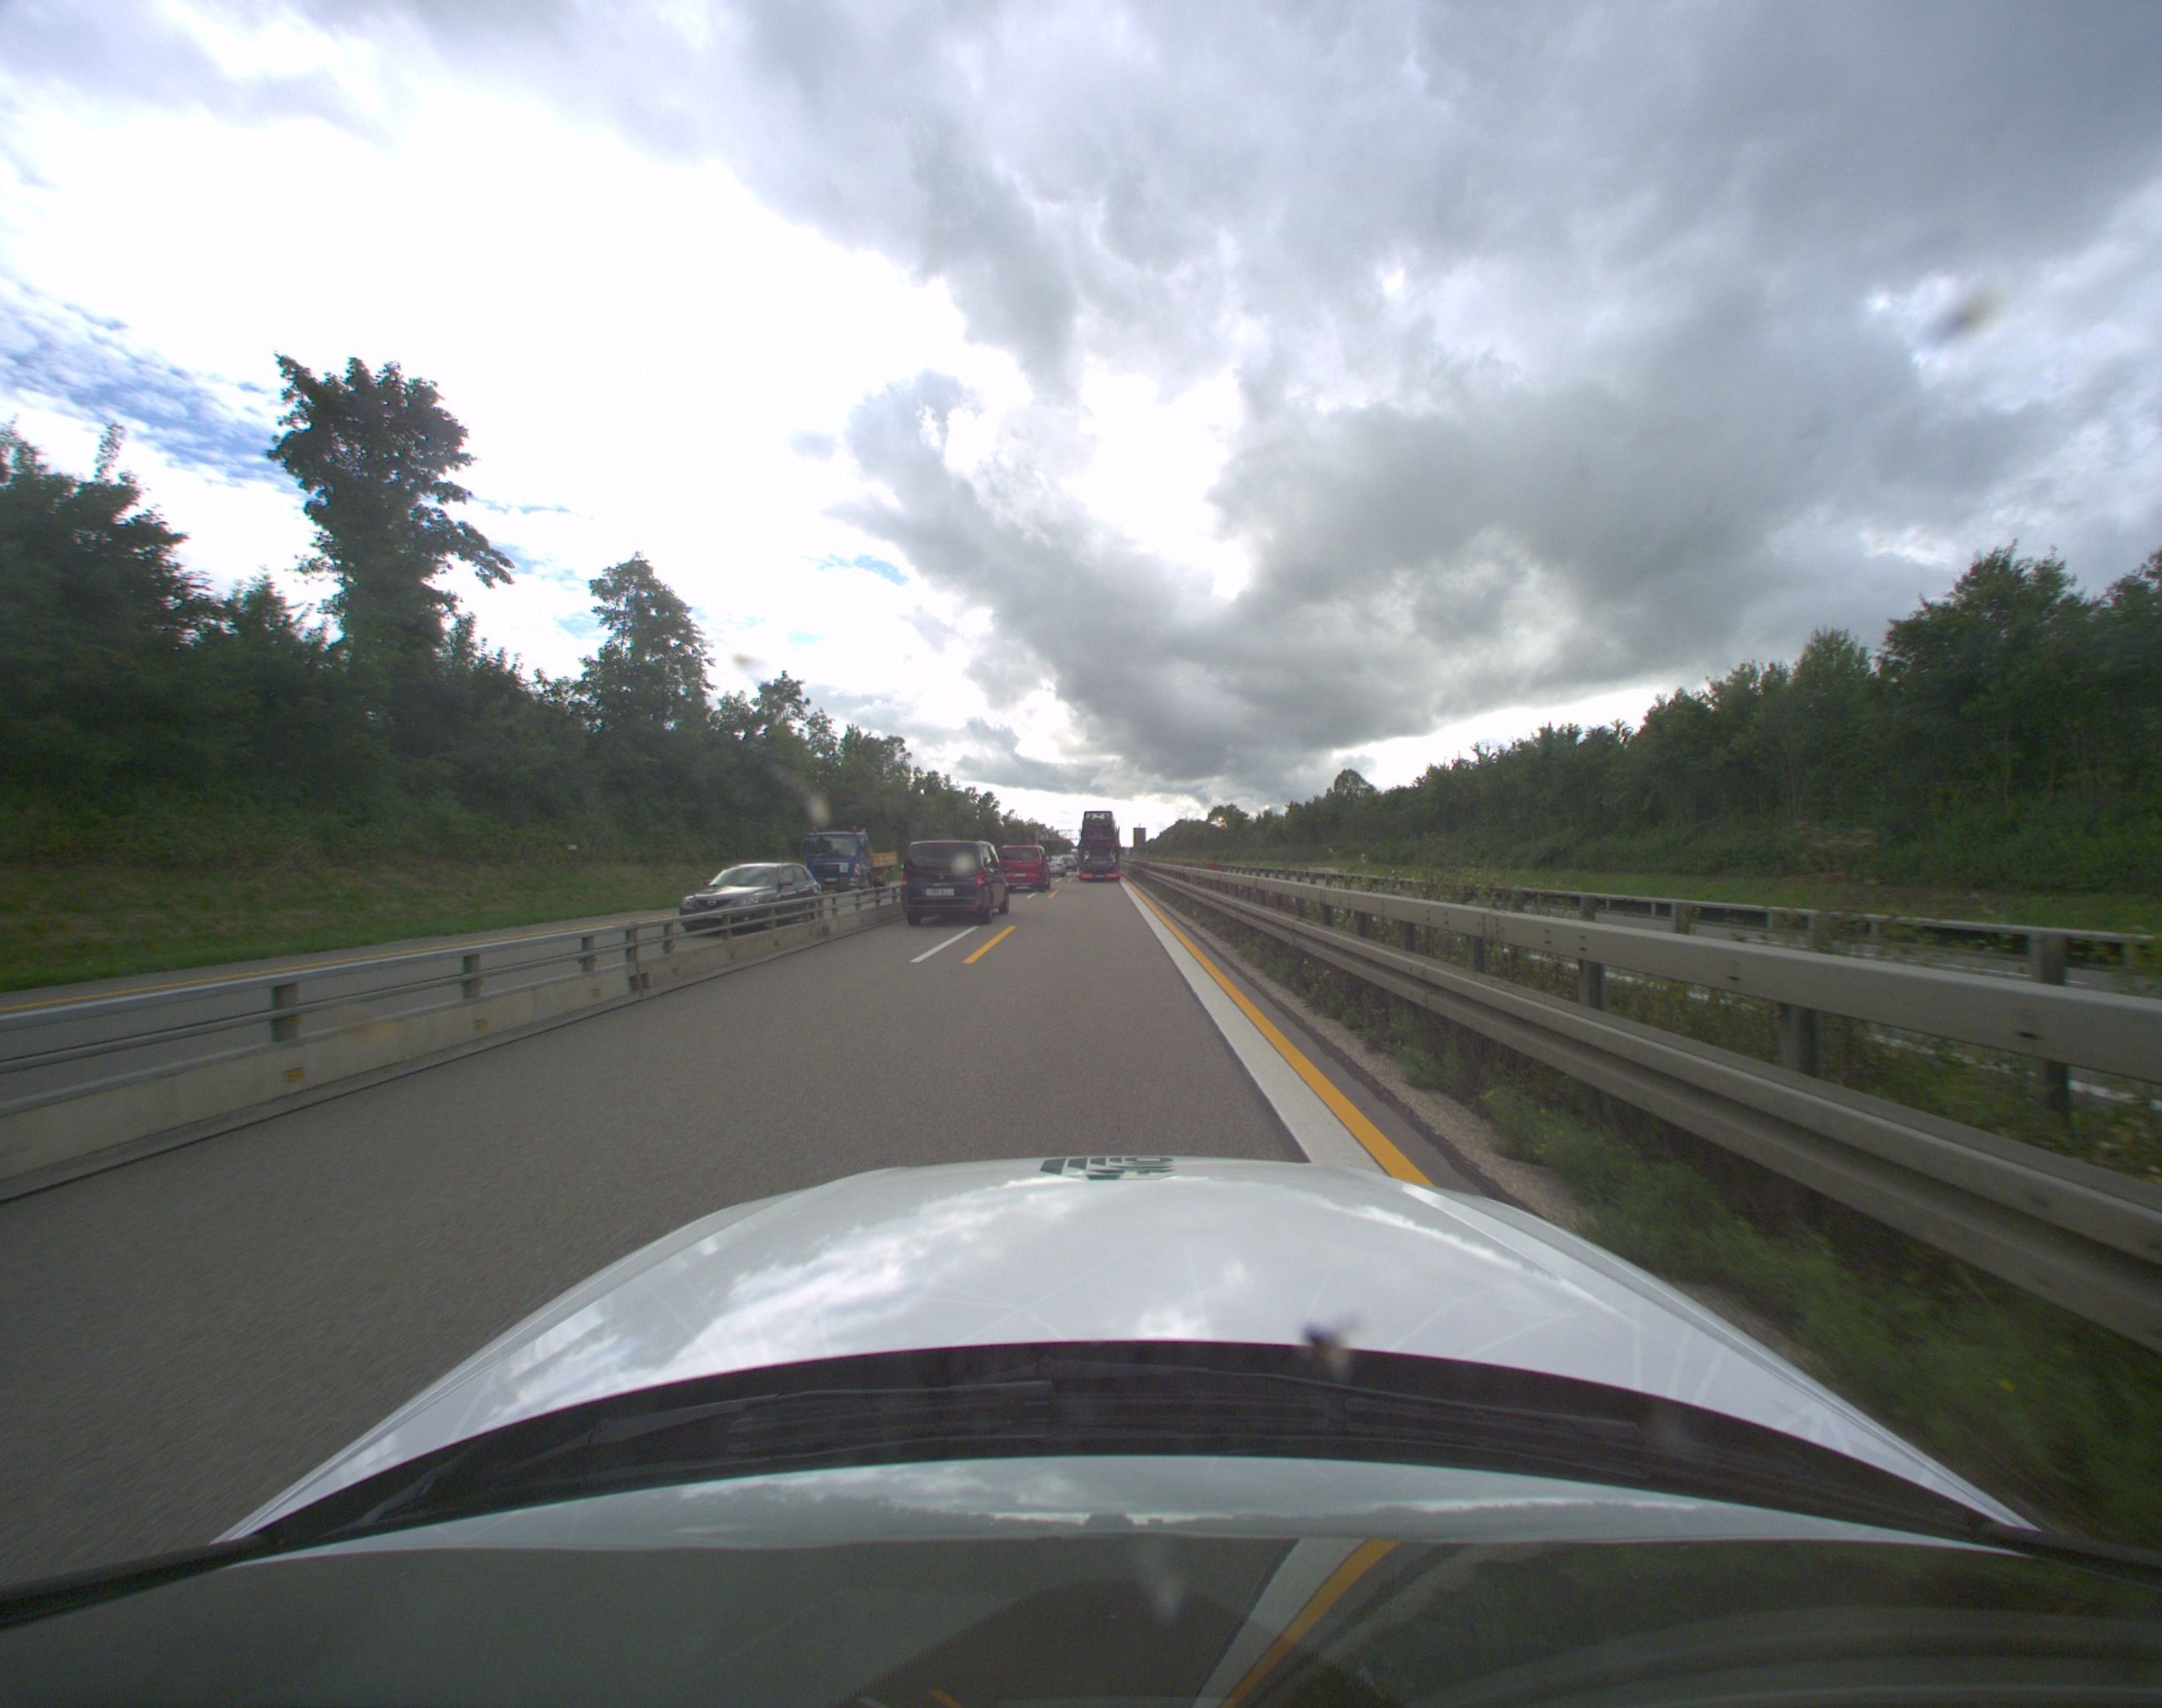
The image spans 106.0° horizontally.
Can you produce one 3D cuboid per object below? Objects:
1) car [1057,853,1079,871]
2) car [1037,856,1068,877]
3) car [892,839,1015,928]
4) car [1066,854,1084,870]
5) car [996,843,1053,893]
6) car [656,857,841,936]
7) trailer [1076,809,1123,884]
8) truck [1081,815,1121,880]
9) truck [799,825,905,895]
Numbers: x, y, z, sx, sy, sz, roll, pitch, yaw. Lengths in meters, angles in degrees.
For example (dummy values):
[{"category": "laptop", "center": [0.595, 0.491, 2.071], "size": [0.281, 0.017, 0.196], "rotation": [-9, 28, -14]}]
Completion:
[{"category": "car", "center": [-1.260, 0.768, 79.936], "size": [2.024, 1.757, 4.578], "rotation": [-1, 0, 1]}, {"category": "car", "center": [-2.082, 0.874, 60.165], "size": [2.024, 1.430, 4.578], "rotation": [-1, 0, 1]}, {"category": "car", "center": [-2.929, 0.639, 20.049], "size": [1.986, 1.843, 5.611], "rotation": [-1, 0, 1]}, {"category": "car", "center": [-0.641, 0.890, 95.373], "size": [2.024, 1.757, 4.578], "rotation": [-1, 0, 0]}, {"category": "car", "center": [-2.366, 0.570, 35.483], "size": [2.024, 2.013, 4.579], "rotation": [-1, 0, 1]}, {"category": "car", "center": [-7.151, 0.839, 18.168], "size": [1.986, 1.507, 4.834], "rotation": [0, 0, 2]}, {"category": "trailer", "center": [1.219, -0.416, 50.485], "size": [2.506, 4.105, 11.118], "rotation": [-1, 0, 2]}, {"category": "truck", "center": [1.391, -0.411, 55.225], "size": [2.506, 4.105, 5.688], "rotation": [-1, 0, 2]}, {"category": "truck", "center": [-9.671, 0.233, 35.161], "size": [2.480, 2.718, 6.669], "rotation": [0, 0, 2]}]
